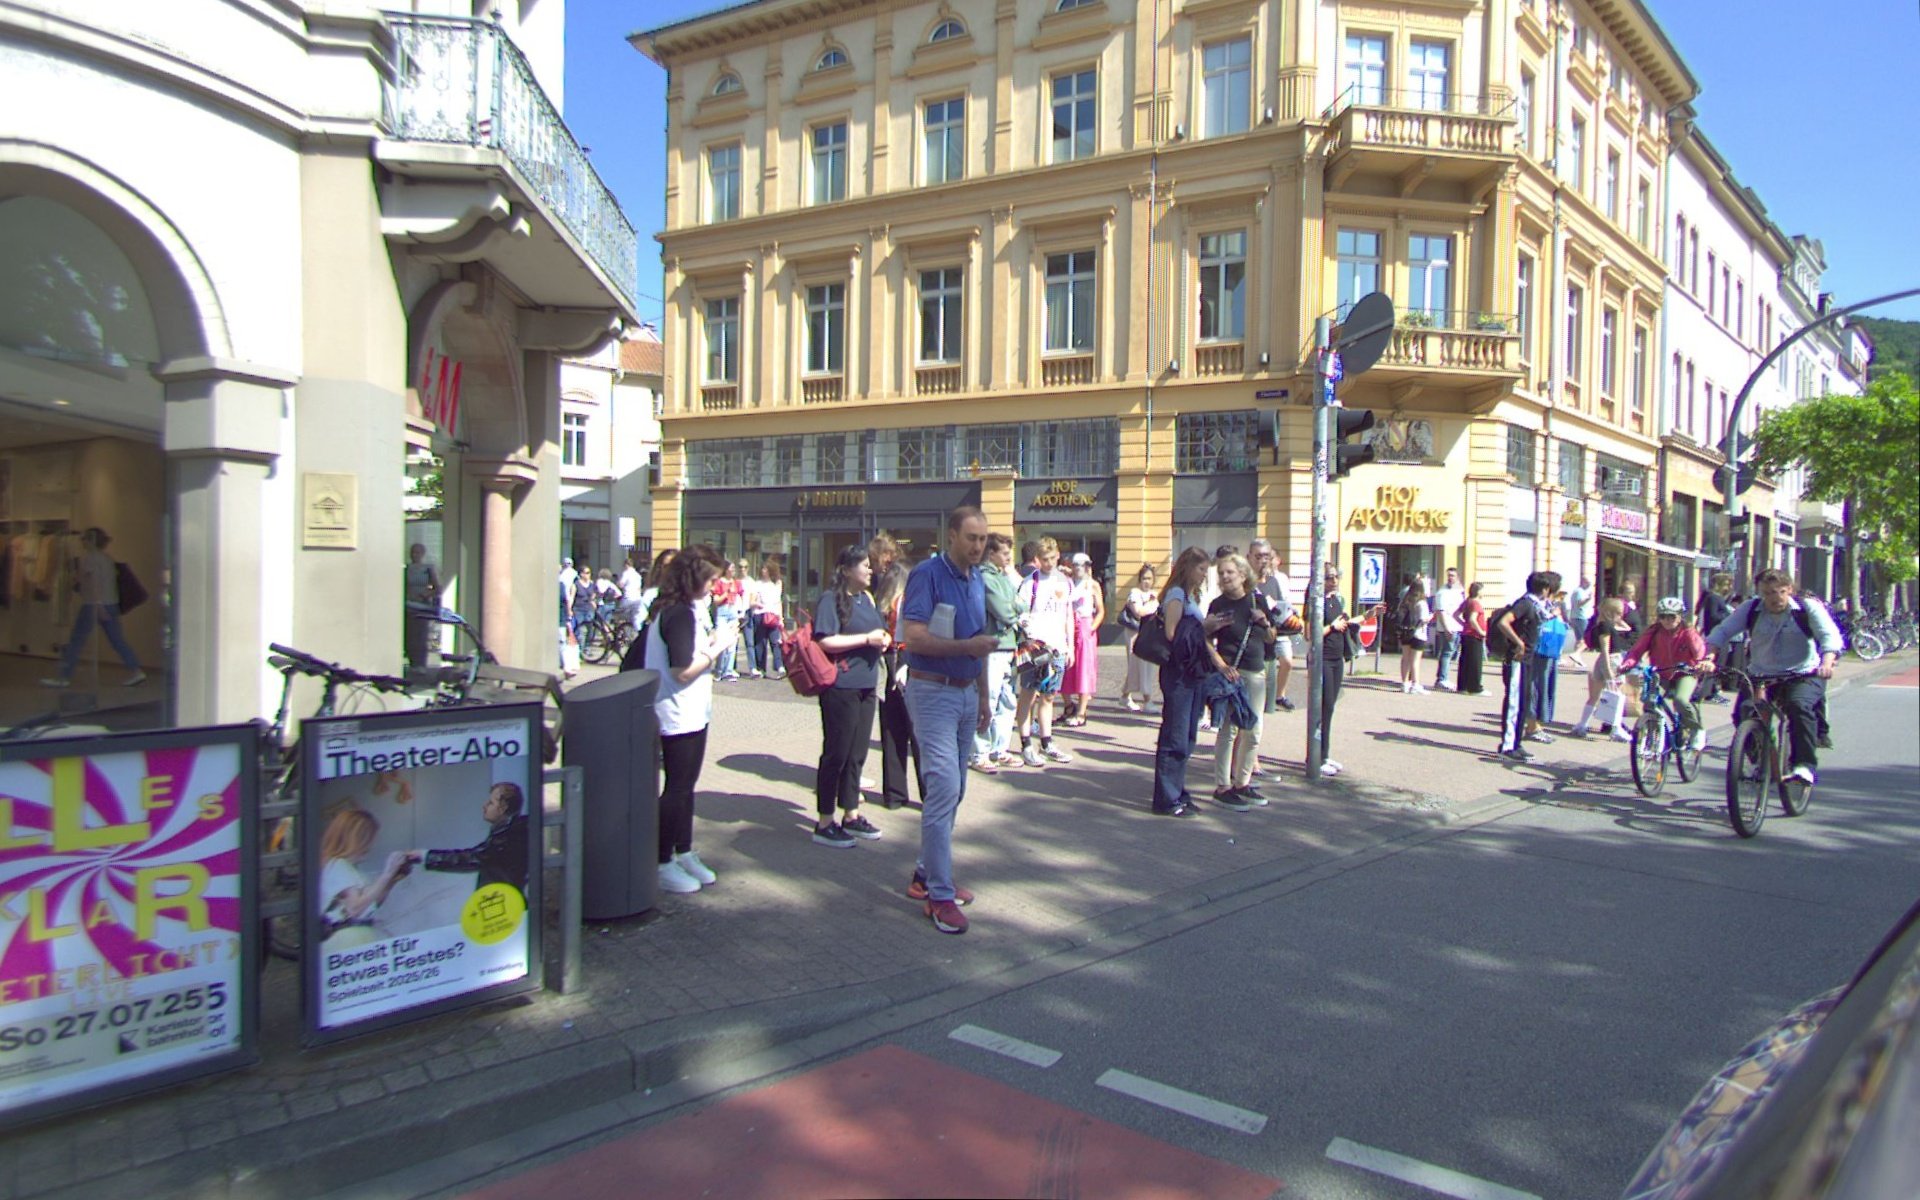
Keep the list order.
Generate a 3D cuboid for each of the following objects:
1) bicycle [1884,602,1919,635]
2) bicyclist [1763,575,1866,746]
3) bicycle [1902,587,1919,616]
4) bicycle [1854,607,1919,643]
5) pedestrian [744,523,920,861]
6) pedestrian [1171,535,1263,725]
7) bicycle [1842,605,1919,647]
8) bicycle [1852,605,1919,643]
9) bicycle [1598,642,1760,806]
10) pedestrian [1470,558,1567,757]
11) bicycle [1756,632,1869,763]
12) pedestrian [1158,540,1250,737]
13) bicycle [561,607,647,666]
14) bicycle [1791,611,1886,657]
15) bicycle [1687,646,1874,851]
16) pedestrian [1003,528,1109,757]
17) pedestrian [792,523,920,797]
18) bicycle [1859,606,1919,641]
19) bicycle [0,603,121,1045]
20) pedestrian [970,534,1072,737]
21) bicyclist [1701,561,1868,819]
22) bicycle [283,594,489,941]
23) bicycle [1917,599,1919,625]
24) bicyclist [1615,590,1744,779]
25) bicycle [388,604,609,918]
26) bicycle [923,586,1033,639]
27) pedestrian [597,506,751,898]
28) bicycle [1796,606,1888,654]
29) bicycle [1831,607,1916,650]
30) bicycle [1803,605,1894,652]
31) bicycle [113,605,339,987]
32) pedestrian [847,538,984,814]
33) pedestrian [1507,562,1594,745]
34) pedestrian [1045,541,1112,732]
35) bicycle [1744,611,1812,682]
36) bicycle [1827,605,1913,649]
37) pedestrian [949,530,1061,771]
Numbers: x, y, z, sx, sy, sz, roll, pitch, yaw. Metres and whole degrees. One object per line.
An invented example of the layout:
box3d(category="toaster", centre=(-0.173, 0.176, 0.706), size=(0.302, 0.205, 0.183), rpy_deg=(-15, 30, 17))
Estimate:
box3d(category="bicycle", centre=(34.239, 0.660, 36.183), size=(0.583, 1.161, 1.754), rpy_deg=(0, 1, -43))
box3d(category="bicyclist", centre=(8.431, 0.564, 9.986), size=(0.765, 1.597, 0.688), rpy_deg=(0, -1, -45))
box3d(category="bicycle", centre=(39.236, 0.060, 40.850), size=(0.583, 1.161, 1.754), rpy_deg=(0, 1, -43))
box3d(category="bicycle", centre=(31.352, 0.836, 34.119), size=(0.583, 1.161, 1.754), rpy_deg=(0, 1, -43))
box3d(category="pedestrian", centre=(-0.703, 0.465, 5.592), size=(0.763, 1.706, 0.577), rpy_deg=(0, -1, -45))
box3d(category="pedestrian", centre=(2.669, 0.297, 10.513), size=(0.612, 1.882, 0.685), rpy_deg=(0, -1, -45))
box3d(category="bicycle", centre=(27.084, 0.739, 29.716), size=(0.583, 1.161, 1.754), rpy_deg=(0, 1, -43))
box3d(category="bicycle", centre=(30.622, 0.774, 33.374), size=(0.583, 1.161, 1.754), rpy_deg=(0, 1, -43))
box3d(category="bicycle", centre=(5.822, 0.928, 8.161), size=(1.789, 1.107, 0.734), rpy_deg=(0, -1, -44))
box3d(category="pedestrian", centre=(5.105, 0.497, 9.286), size=(0.573, 1.704, 0.721), rpy_deg=(6, 2, 25))
box3d(category="bicycle", centre=(8.369, 0.895, 9.907), size=(1.867, 1.107, 0.666), rpy_deg=(-1, -1, -45))
box3d(category="pedestrian", centre=(2.364, 0.356, 9.804), size=(0.686, 1.825, 0.577), rpy_deg=(0, -1, -45))
box3d(category="bicycle", centre=(-5.726, 0.566, 16.223), size=(1.802, 0.895, 0.411), rpy_deg=(-1, -1, 39))
box3d(category="bicycle", centre=(22.047, 0.831, 25.414), size=(0.583, 1.048, 1.754), rpy_deg=(0, 1, -43))
box3d(category="bicycle", centre=(5.577, 0.909, 6.835), size=(1.866, 1.107, 0.734), rpy_deg=(-1, -1, -44))
box3d(category="pedestrian", centre=(0.780, 0.324, 8.208), size=(0.612, 1.762, 0.577), rpy_deg=(0, -1, -45))
box3d(category="pedestrian", centre=(-0.690, 0.374, 6.719), size=(0.612, 1.706, 0.577), rpy_deg=(0, -1, -45))
box3d(category="bicycle", centre=(32.064, 0.800, 34.750), size=(0.583, 1.161, 1.754), rpy_deg=(0, 1, -43))
box3d(category="bicycle", centre=(-3.222, 0.610, 3.348), size=(0.583, 1.161, 1.754), rpy_deg=(0, 1, -43))
box3d(category="pedestrian", centre=(0.574, 0.318, 9.557), size=(0.687, 1.827, 0.649), rpy_deg=(0, -1, -43))
box3d(category="bicyclist", centre=(5.543, 0.555, 6.809), size=(0.765, 1.597, 0.749), rpy_deg=(0, -1, -43))
box3d(category="bicycle", centre=(-2.481, 0.593, 4.300), size=(0.418, 1.212, 1.530), rpy_deg=(0, 1, -43))
box3d(category="bicycle", centre=(43.735, 0.533, 44.948), size=(0.583, 1.161, 1.754), rpy_deg=(0, 1, -43))
box3d(category="bicyclist", centre=(5.774, 0.634, 8.121), size=(0.765, 1.414, 0.689), rpy_deg=(0, -1, -43))
box3d(category="bicycle", centre=(-2.149, 0.619, 4.608), size=(0.418, 1.161, 1.630), rpy_deg=(0, 1, -43))
box3d(category="bicycle", centre=(0.401, 0.294, 23.155), size=(2.393, 1.166, 0.775), rpy_deg=(-1, -1, 25))
box3d(category="pedestrian", centre=(-1.316, 0.442, 4.743), size=(0.567, 1.706, 0.622), rpy_deg=(-1, -1, -4))
box3d(category="bicycle", centre=(22.834, 0.760, 26.215), size=(0.583, 1.161, 1.754), rpy_deg=(0, 1, -43))
box3d(category="bicycle", centre=(25.966, 0.790, 28.790), size=(0.583, 1.161, 1.754), rpy_deg=(0, 1, -43))
box3d(category="bicycle", centre=(23.439, 0.736, 26.717), size=(0.583, 1.161, 1.754), rpy_deg=(0, 1, -43))
box3d(category="bicycle", centre=(-2.925, 0.621, 3.967), size=(0.514, 1.161, 1.657), rpy_deg=(0, 1, -43))
box3d(category="pedestrian", centre=(-0.275, 0.440, 6.304), size=(0.612, 1.604, 0.577), rpy_deg=(0, -1, -45))
box3d(category="pedestrian", centre=(5.984, 0.512, 10.291), size=(0.599, 1.757, 0.643), rpy_deg=(4, 3, 25))
box3d(category="pedestrian", centre=(1.169, 0.355, 10.090), size=(0.611, 1.840, 0.632), rpy_deg=(-1, -1, 5))
box3d(category="bicycle", centre=(14.832, 0.815, 18.384), size=(0.732, 1.106, 1.875), rpy_deg=(5, 4, 34))
box3d(category="bicycle", centre=(25.430, 0.735, 28.297), size=(0.583, 1.161, 1.754), rpy_deg=(0, 1, -43))
box3d(category="pedestrian", centre=(0.345, 0.368, 7.767), size=(0.612, 1.746, 0.577), rpy_deg=(0, -1, -45))
